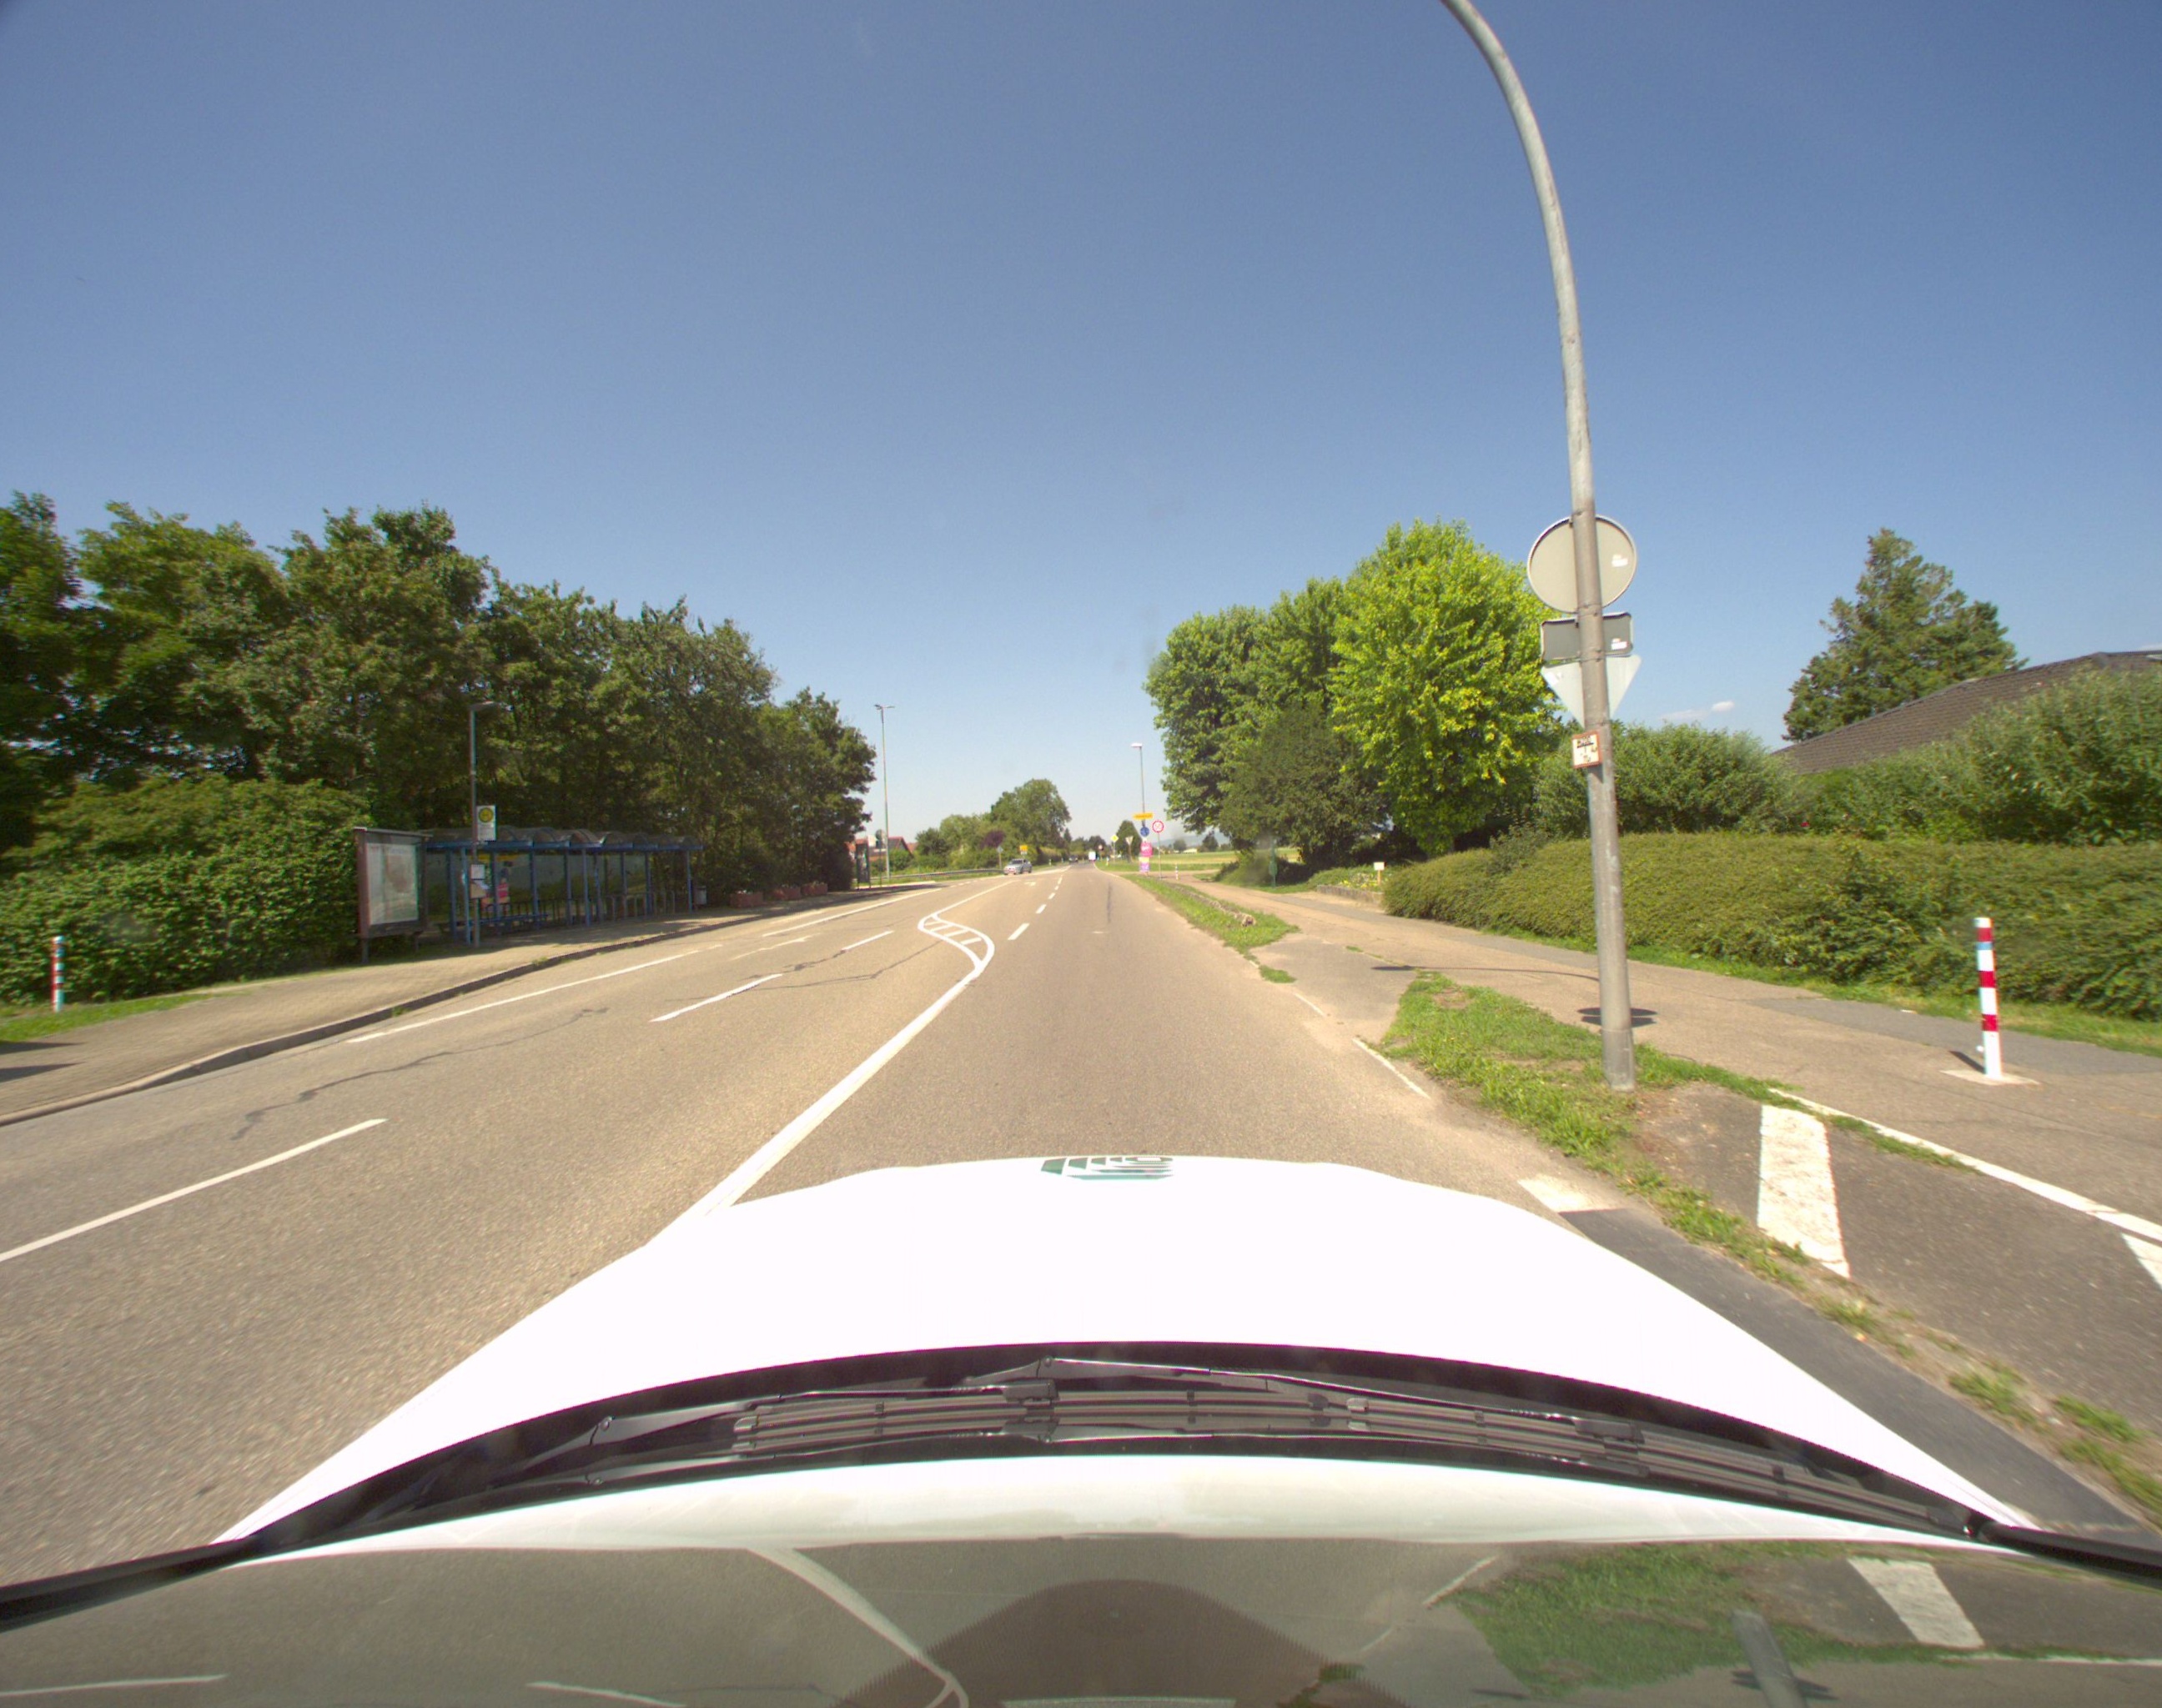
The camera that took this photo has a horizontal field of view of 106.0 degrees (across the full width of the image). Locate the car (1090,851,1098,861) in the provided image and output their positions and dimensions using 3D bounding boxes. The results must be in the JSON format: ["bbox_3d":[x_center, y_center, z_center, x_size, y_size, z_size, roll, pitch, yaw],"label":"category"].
[{"bbox_3d":[3.562,0.499,229.821,1.986,2.651,4.003,-3,0,2],"label":"car"}]

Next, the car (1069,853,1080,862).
[{"bbox_3d":[-1.456,0.772,184.222,2.136,1.951,5.249,-3,0,2],"label":"car"}]

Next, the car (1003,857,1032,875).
[{"bbox_3d":[-5.881,1.120,76.188,1.626,1.471,4.428,-3,0,10],"label":"car"}]
